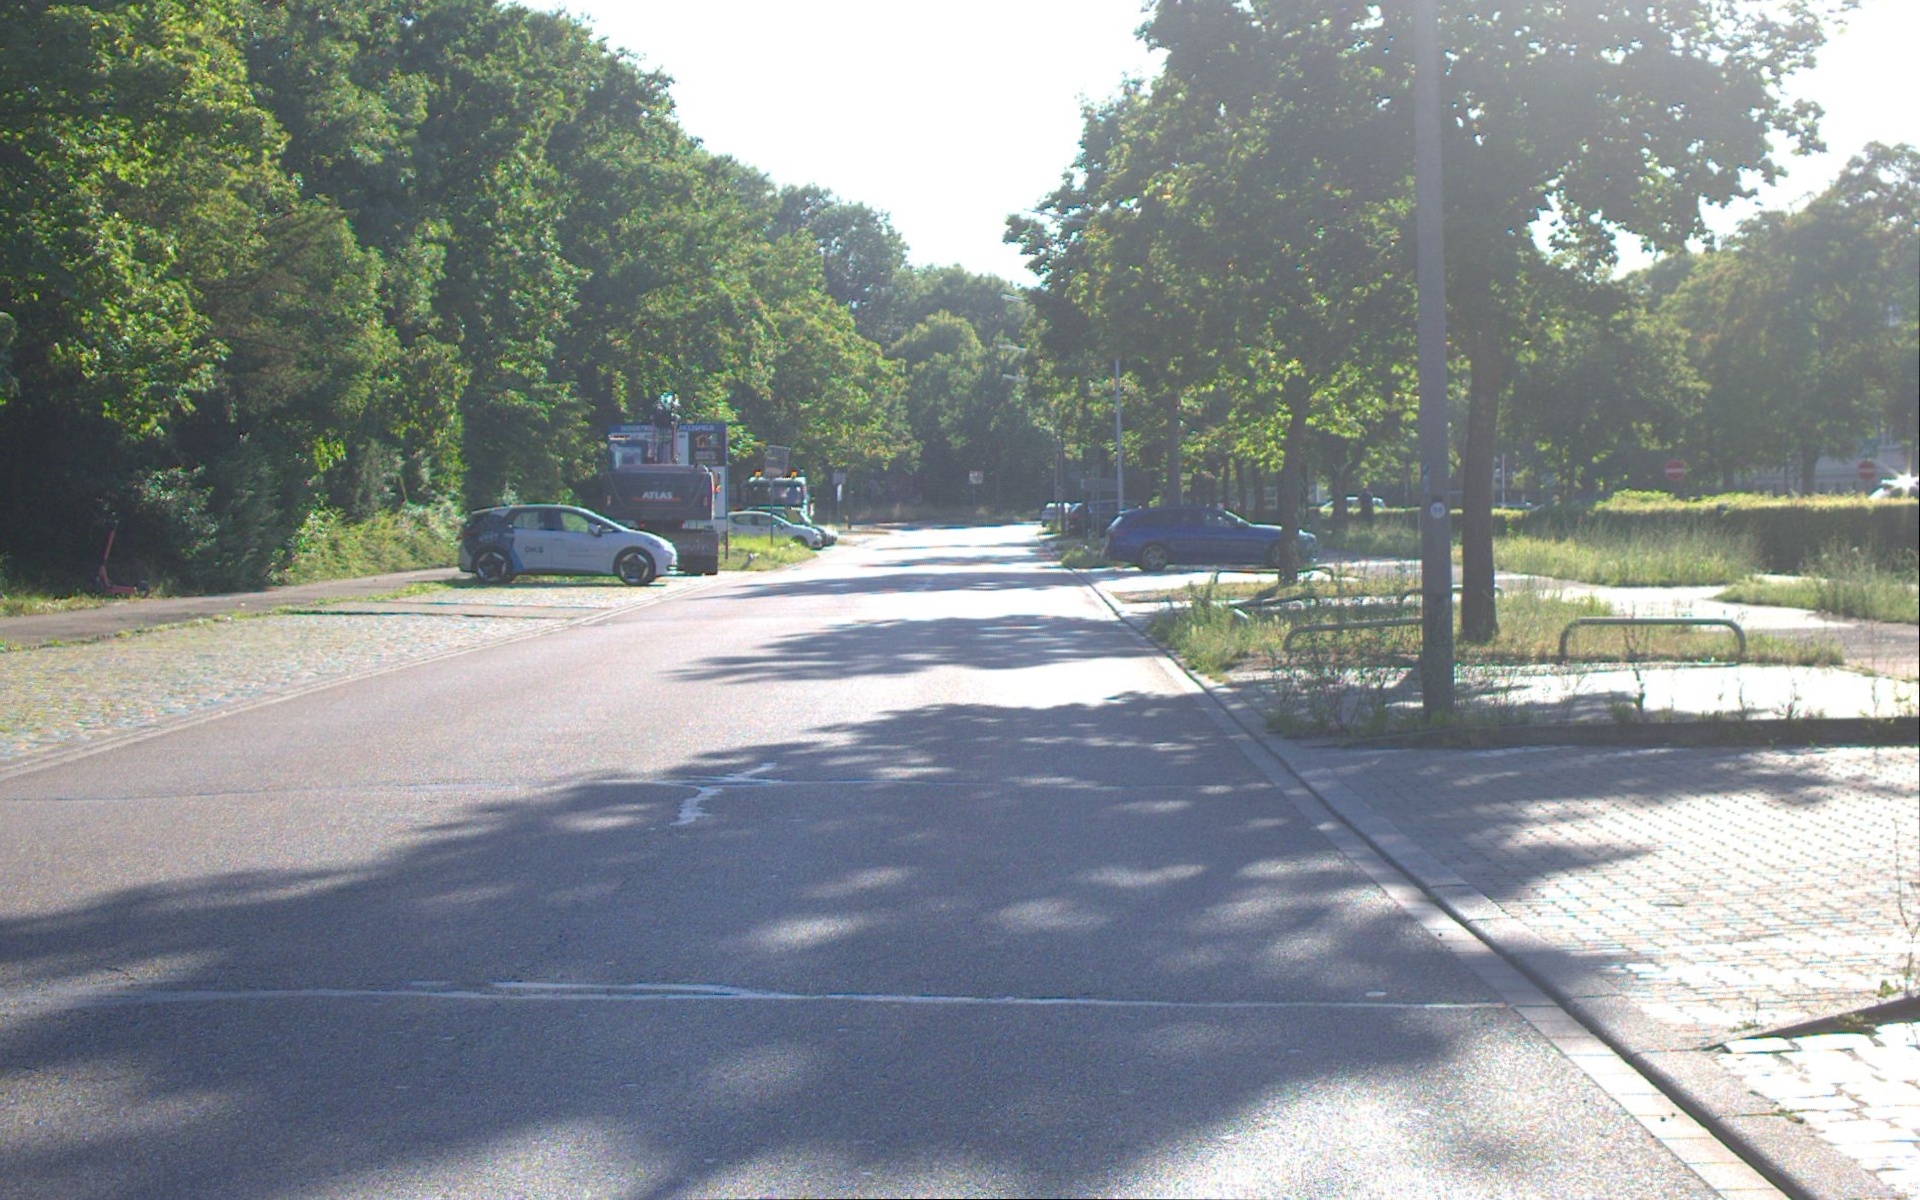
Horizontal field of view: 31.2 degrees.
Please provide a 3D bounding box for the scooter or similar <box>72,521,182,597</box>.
[{"bbox_3d":[-12.767,-0.634,52.728,0.577,1.141,1.581,0,2,41],"label":"scooter or similar"}]

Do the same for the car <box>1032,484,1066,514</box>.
[{"bbox_3d":[5.718,-6.517,220.917,1.993,1.897,4.001,-1,2,-1],"label":"car"}]

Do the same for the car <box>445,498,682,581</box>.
[{"bbox_3d":[-7.749,-1.199,67.453,4.358,1.542,2.000,-1,2,2],"label":"car"}]

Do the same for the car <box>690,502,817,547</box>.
[{"bbox_3d":[-7.242,-2.648,120.350,4.357,1.474,2.001,-1,2,-6],"label":"car"}]

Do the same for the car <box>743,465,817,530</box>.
[{"bbox_3d":[-6.823,-3.860,129.669,2.516,2.377,4.374,-1,2,-6],"label":"car"}]

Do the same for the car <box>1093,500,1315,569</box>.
[{"bbox_3d":[5.399,-1.470,76.590,4.842,1.474,2.000,-1,2,2],"label":"car"}]

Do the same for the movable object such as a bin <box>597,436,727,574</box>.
[{"bbox_3d":[-6.895,-2.220,80.115,2.838,3.058,4.928,1,2,-4],"label":"movable object such as a bin"}]

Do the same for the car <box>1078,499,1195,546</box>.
[{"bbox_3d":[6.776,-2.976,132.200,4.358,1.723,2.000,-1,2,0],"label":"car"}]
